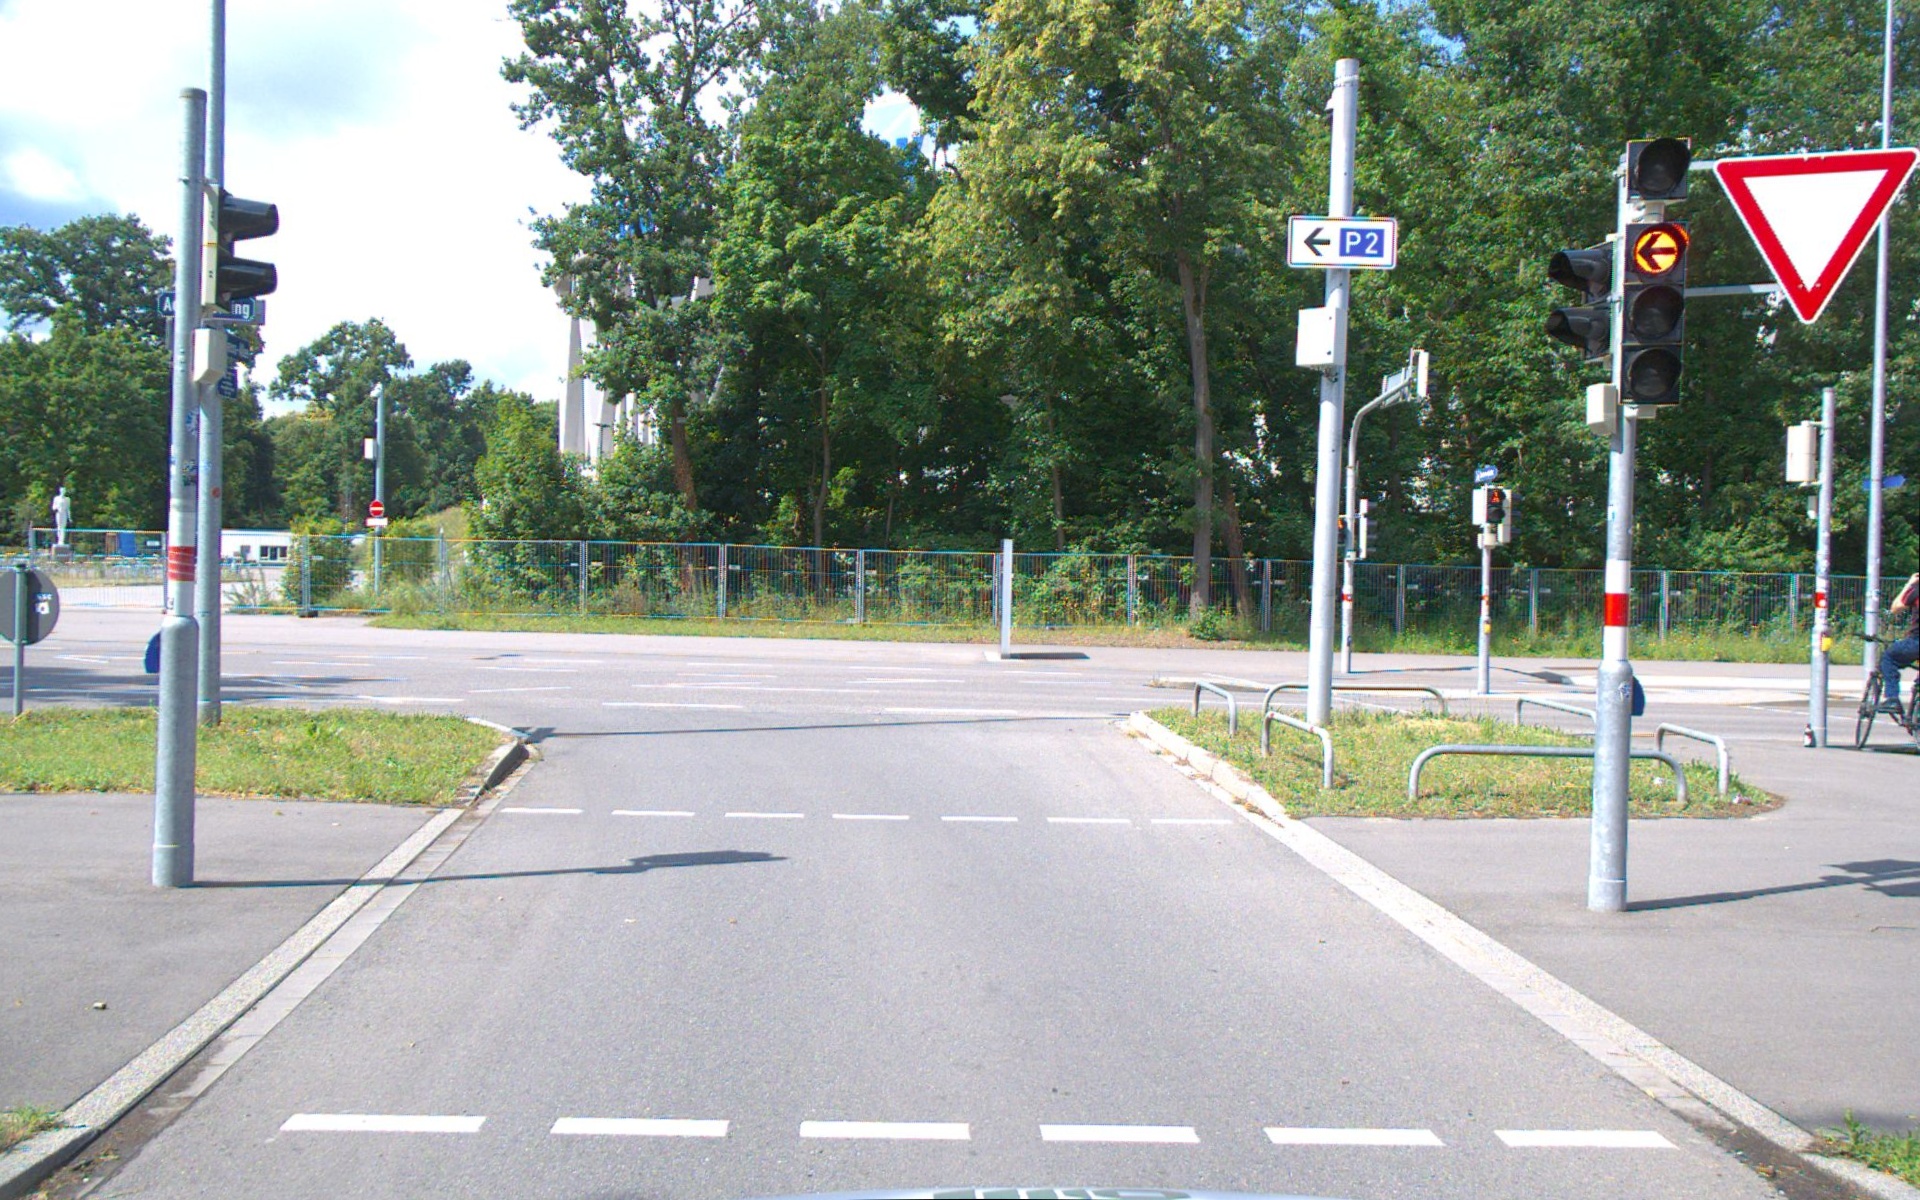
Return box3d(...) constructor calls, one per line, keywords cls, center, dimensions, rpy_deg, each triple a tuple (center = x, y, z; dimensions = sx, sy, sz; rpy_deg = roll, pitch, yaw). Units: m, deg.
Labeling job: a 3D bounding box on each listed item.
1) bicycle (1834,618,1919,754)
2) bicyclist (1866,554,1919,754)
box3d(cls="bicycle", center=(9.237, 0.796, 15.905), dimensions=(0.861, 1.227, 1.899), rpy_deg=(1, 0, 8))
box3d(cls="bicyclist", center=(9.233, 0.503, 15.628), dimensions=(0.866, 1.829, 0.979), rpy_deg=(1, -1, 7))
